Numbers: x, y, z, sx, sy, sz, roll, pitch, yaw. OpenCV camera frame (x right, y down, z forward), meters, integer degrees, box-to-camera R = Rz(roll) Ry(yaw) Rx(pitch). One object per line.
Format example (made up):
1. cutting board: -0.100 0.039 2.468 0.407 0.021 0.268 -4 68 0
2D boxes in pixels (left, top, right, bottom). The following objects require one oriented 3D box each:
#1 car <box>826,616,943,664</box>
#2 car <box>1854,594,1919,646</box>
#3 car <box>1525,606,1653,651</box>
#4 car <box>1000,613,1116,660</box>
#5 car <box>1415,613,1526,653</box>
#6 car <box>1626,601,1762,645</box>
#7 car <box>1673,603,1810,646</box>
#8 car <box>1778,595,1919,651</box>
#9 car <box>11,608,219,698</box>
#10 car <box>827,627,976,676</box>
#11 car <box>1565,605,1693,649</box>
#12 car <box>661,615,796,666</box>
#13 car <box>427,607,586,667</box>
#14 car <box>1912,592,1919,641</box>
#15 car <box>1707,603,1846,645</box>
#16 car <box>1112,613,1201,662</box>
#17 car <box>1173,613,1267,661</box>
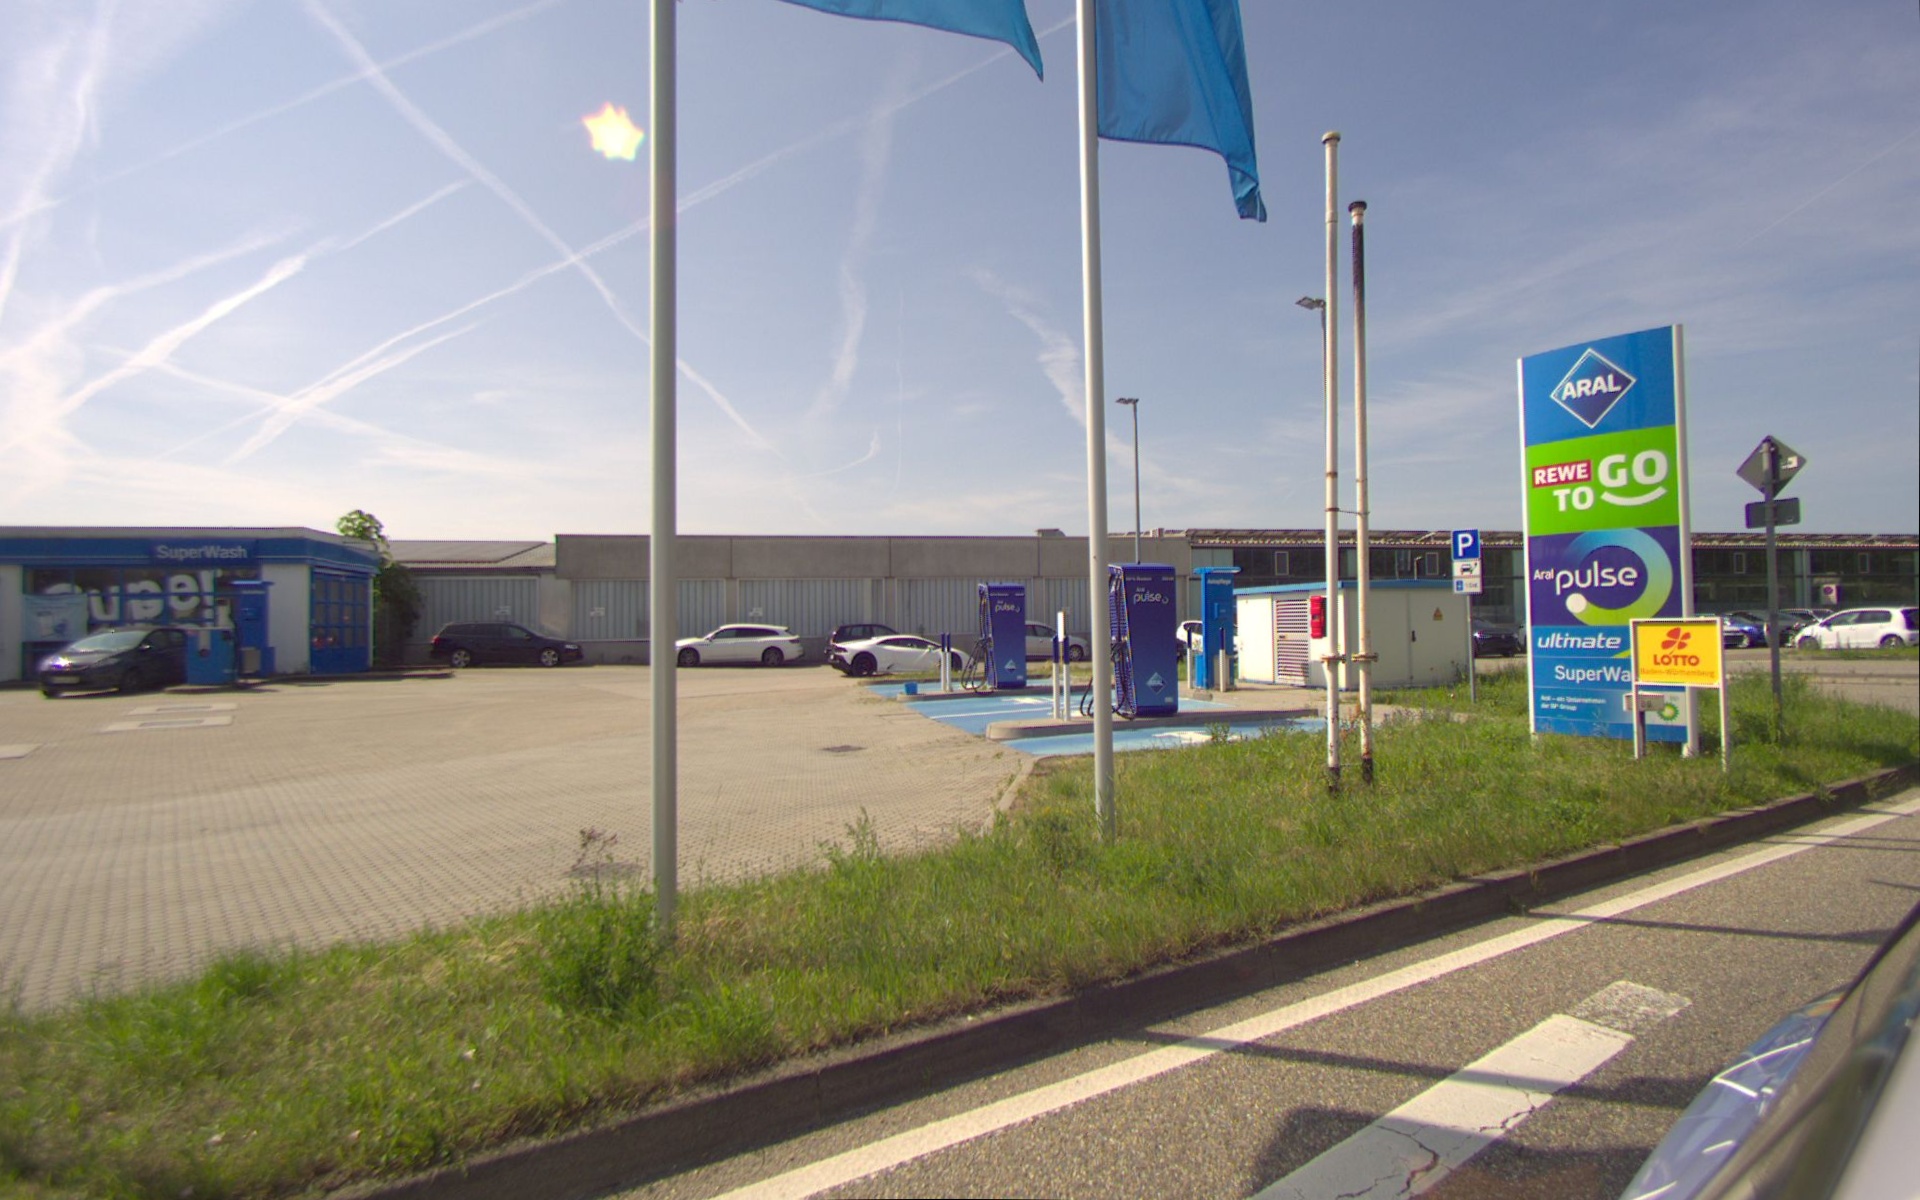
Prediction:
1. car: -2.739 1.397 36.333 3.937 1.625 1.893 0 -1 -12
2. car: 31.482 0.643 32.174 1.784 1.659 4.266 1 -1 -16
3. car: 24.985 1.116 40.395 1.784 1.659 4.472 1 -1 -11
4. car: 3.610 1.324 37.603 3.939 1.625 1.892 0 -1 -7
5. car: 19.850 1.262 39.560 1.784 1.477 4.052 1 -1 -10
6. car: 29.799 0.923 41.292 1.784 1.659 4.472 1 -1 -11
7. car: 32.347 1.014 42.070 1.784 1.659 4.472 1 -1 -11
8. car: 29.266 0.734 32.600 1.784 1.659 4.266 1 -1 -16
9. car: -19.094 1.119 23.144 1.851 1.849 4.178 0 -1 -11
10. car: -1.730 1.476 29.594 4.039 1.269 1.702 0 -1 -17
11. car: 27.262 1.087 41.437 1.784 1.659 4.472 1 -1 -11
12. car: -7.978 1.360 34.959 4.435 1.625 1.894 0 -1 -14
13. car: -14.817 1.190 33.353 4.557 1.849 1.894 0 -1 -16
14. car: 33.884 0.550 32.682 1.784 1.659 4.266 1 -1 -16
15. car: 34.397 1.005 42.820 1.784 1.659 4.472 1 -1 -11
16. car: 6.977 1.307 36.321 1.851 1.625 4.026 0 -1 -9
17. car: 9.418 1.317 36.979 1.851 1.625 4.026 0 -1 -9
